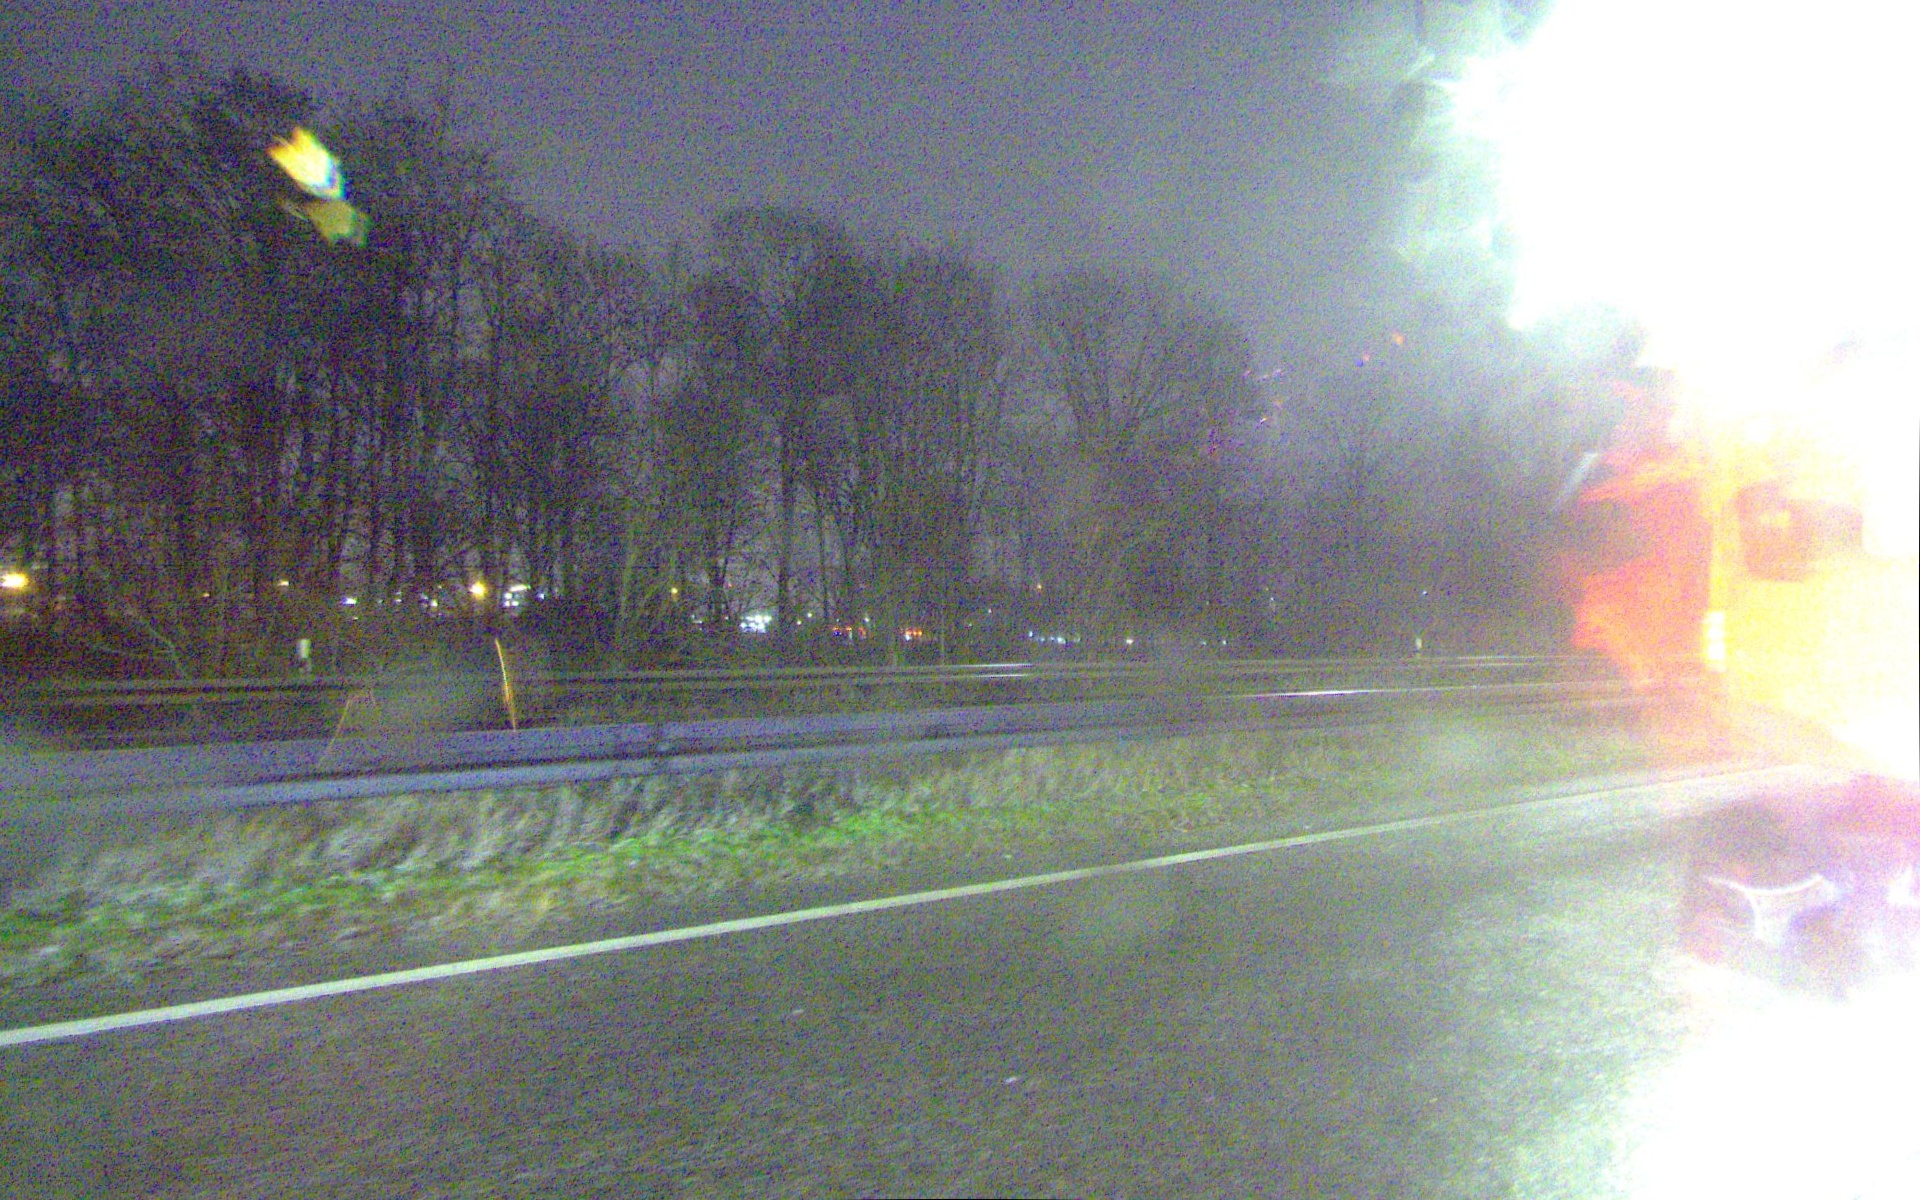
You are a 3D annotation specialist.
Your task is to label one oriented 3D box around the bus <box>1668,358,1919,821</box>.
[{"bbox_3d":[9.945,0.005,9.012,8.591,3.064,2.800,1,0,-32],"label":"bus"}]
